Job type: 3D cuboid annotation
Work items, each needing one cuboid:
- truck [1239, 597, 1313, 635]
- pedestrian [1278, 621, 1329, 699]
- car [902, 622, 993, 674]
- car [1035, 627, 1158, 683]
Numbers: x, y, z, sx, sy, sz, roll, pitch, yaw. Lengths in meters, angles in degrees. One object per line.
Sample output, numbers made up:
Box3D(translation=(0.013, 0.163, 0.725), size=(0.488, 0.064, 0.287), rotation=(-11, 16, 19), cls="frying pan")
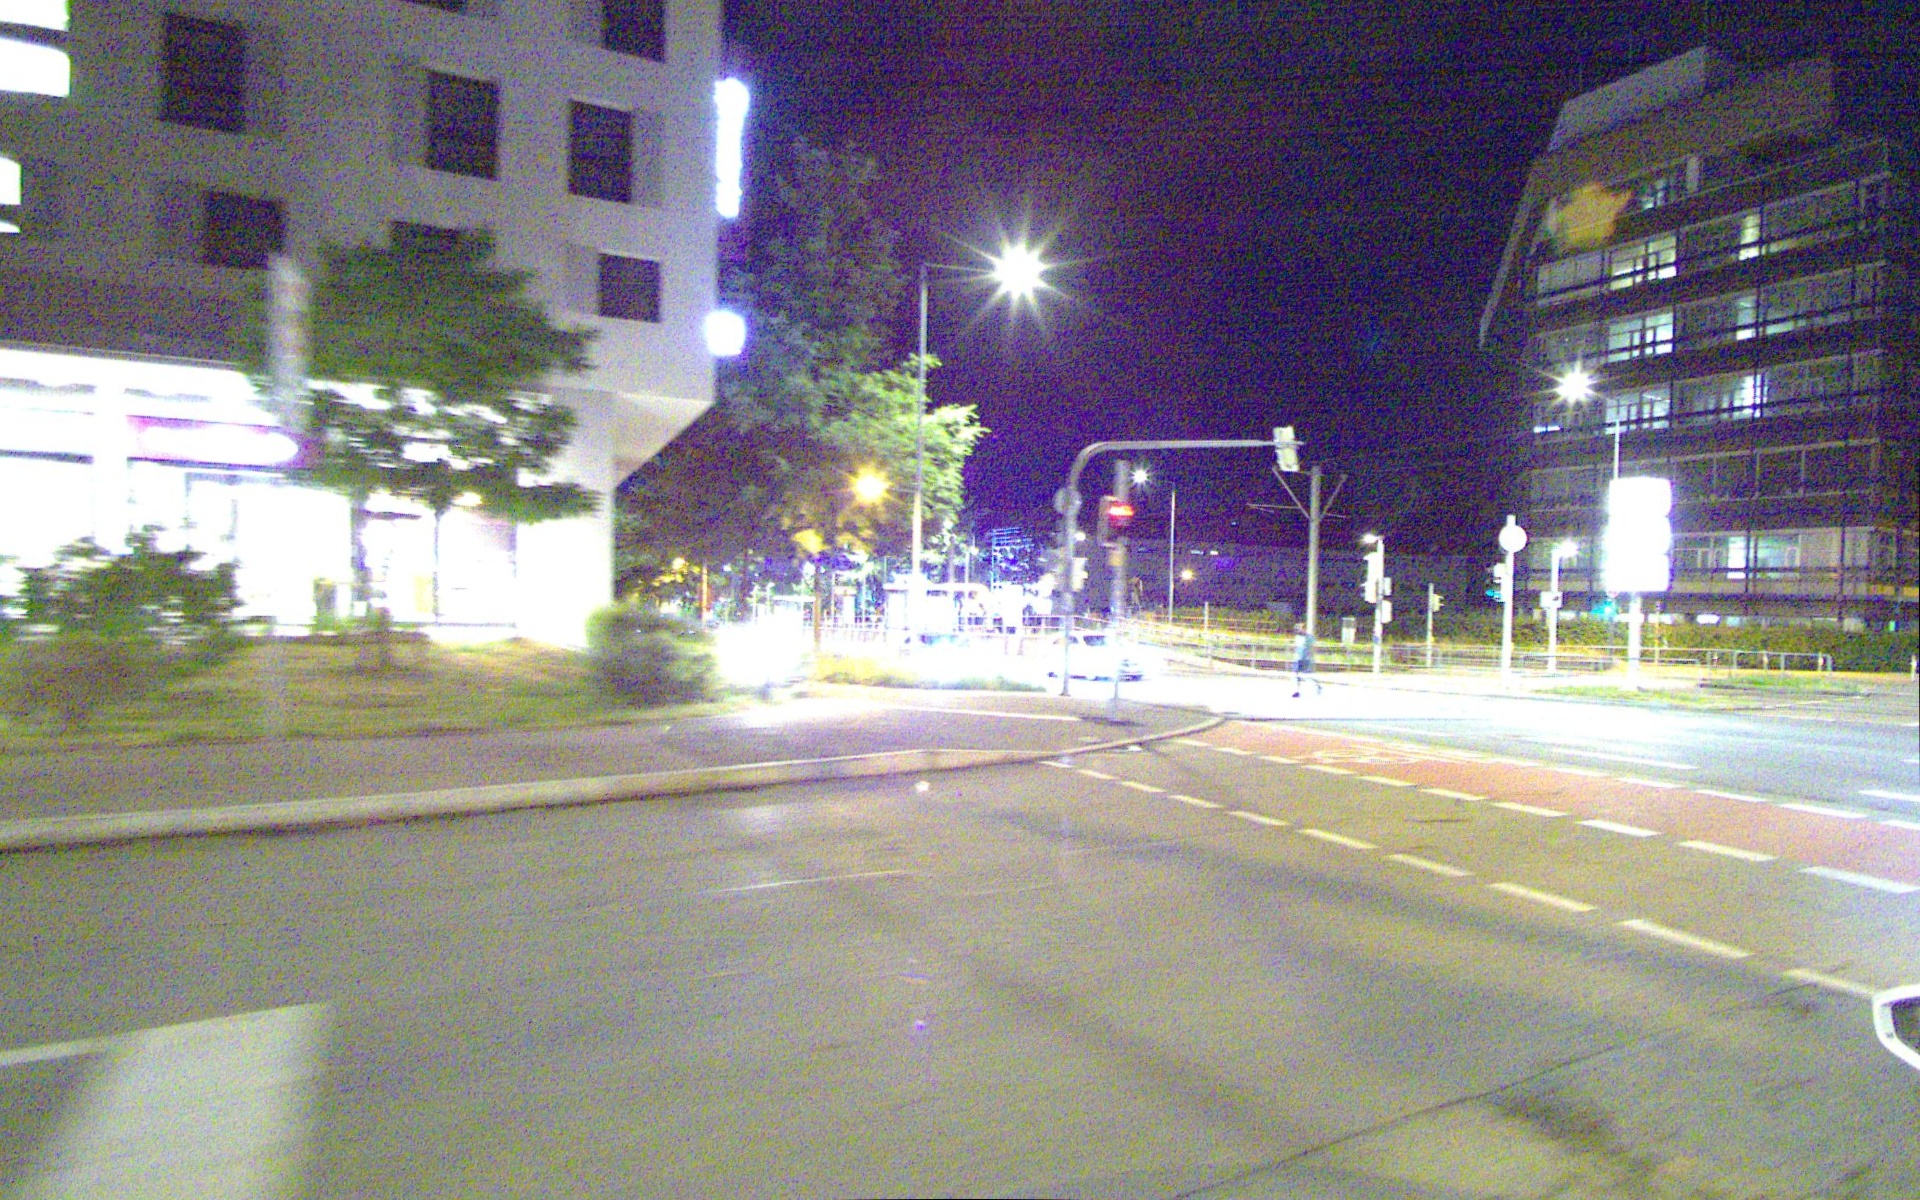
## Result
Box3D(translation=(27.714, 1.367, 88.231), size=(2.877, 3.129, 5.873), rotation=(2, 0, -28), cls="truck")
Box3D(translation=(7.578, 1.305, 22.165), size=(0.854, 1.656, 0.664), rotation=(2, 0, -35), cls="pedestrian")
Box3D(translation=(-0.481, 1.566, 33.274), size=(1.878, 1.591, 3.984), rotation=(2, -2, -19), cls="car")
Box3D(translation=(4.092, 1.619, 30.859), size=(1.793, 1.522, 4.176), rotation=(-1, -1, -24), cls="car")
